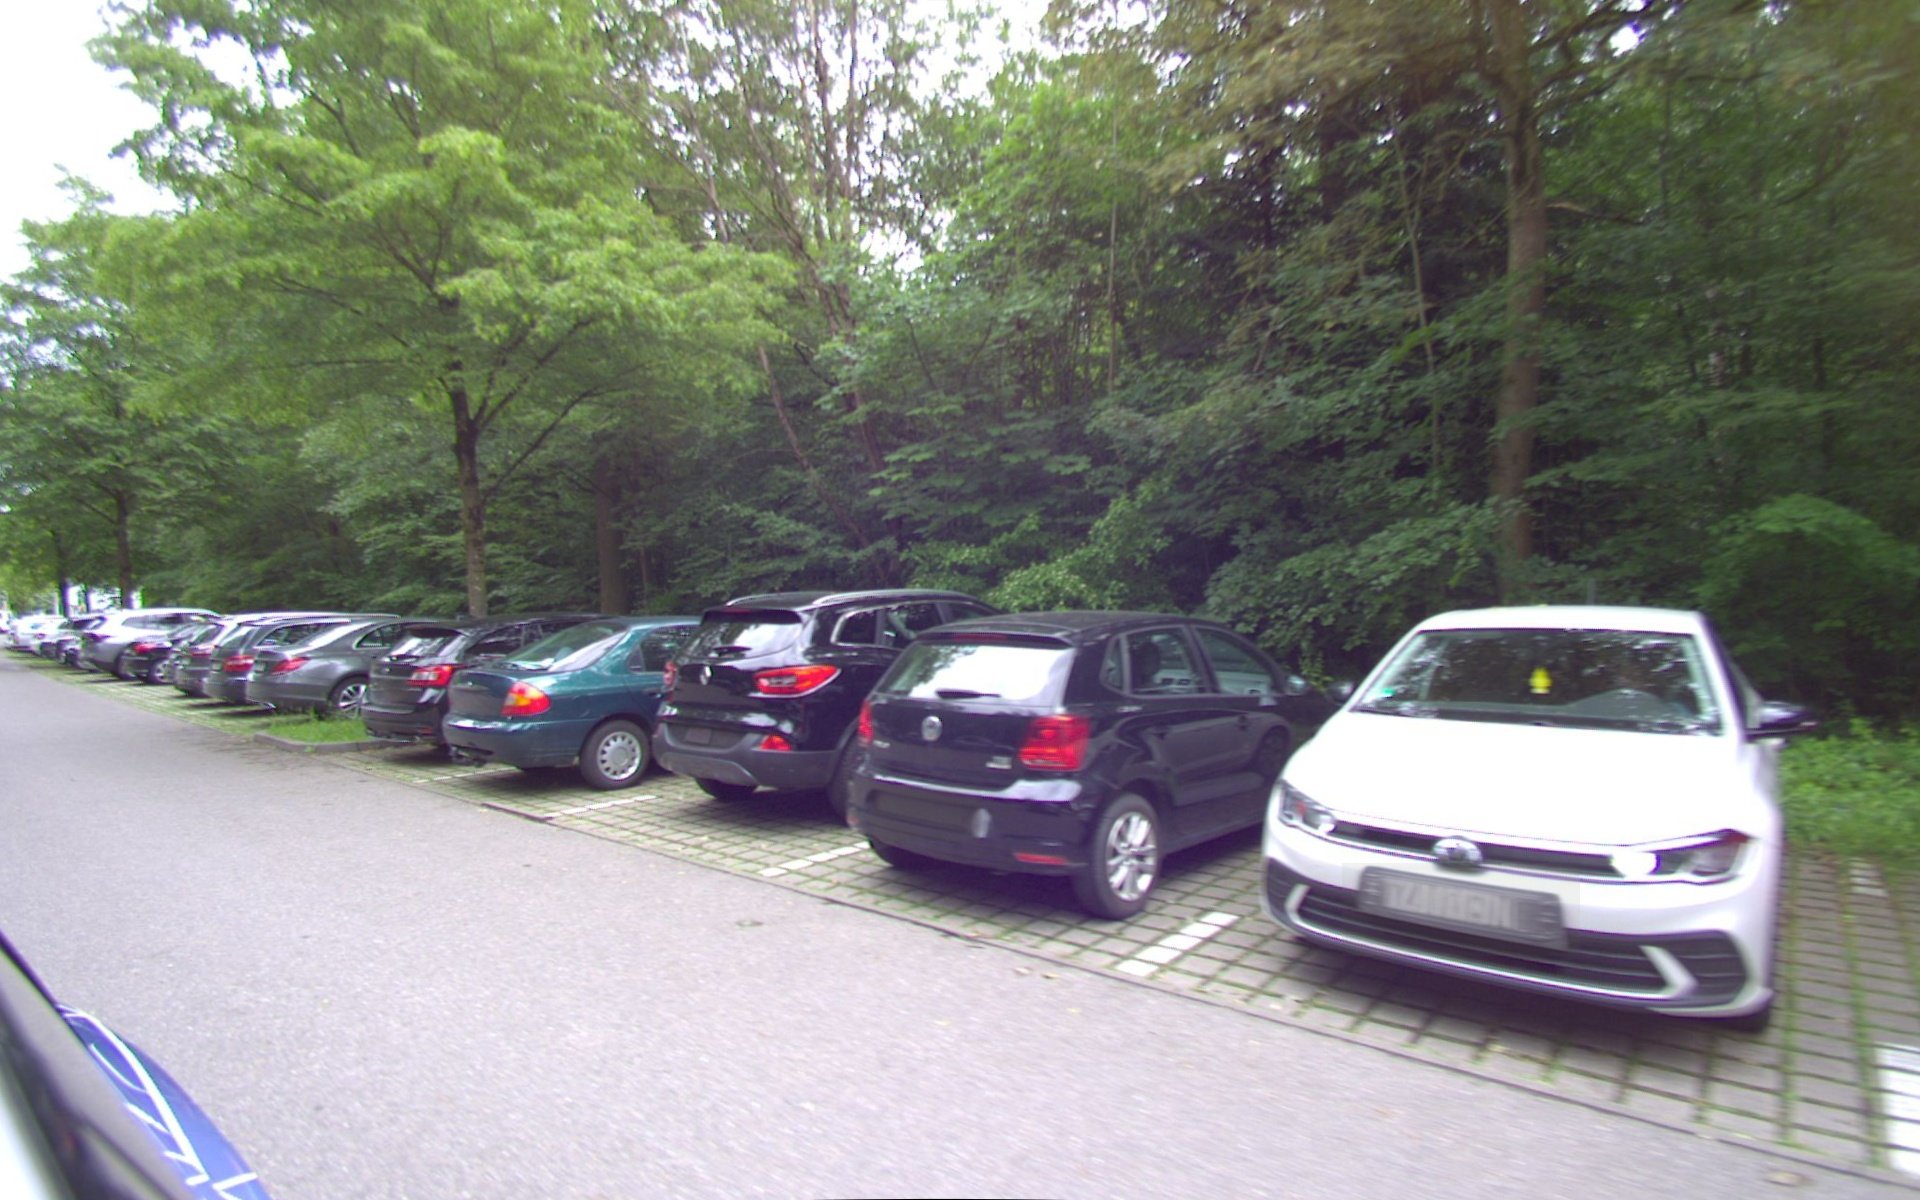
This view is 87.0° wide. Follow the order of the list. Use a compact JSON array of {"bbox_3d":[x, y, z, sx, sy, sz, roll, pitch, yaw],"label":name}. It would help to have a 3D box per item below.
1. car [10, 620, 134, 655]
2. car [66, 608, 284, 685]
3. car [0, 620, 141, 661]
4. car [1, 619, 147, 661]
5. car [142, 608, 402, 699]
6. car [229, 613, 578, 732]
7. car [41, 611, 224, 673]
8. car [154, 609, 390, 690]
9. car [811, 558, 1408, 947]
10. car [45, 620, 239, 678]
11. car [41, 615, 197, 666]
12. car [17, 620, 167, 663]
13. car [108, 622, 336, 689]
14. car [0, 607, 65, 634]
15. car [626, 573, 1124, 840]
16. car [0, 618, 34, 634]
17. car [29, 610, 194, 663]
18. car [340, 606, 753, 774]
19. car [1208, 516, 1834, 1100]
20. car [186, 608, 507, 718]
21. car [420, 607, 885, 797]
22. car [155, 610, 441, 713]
[{"bbox_3d":[-39.759,1.648,45.391,1.711,1.489,3.949,-1,-1,38],"label":"car"},{"bbox_3d":[-19.222,1.088,24.920,1.711,1.740,3.949,-1,-1,37],"label":"car"},{"bbox_3d":[-35.107,1.563,40.012,1.711,1.489,3.949,-1,-1,38],"label":"car"},{"bbox_3d":[-33.757,1.488,38.637,1.711,1.489,3.949,-1,-1,38],"label":"car"},{"bbox_3d":[-13.591,0.981,20.196,1.710,1.528,3.952,-1,0,35],"label":"car"},{"bbox_3d":[-8.027,0.948,14.856,1.819,1.467,4.163,-1,-1,44],"label":"car"},{"bbox_3d":[-24.670,1.217,30.294,1.711,1.722,3.949,-1,-1,37],"label":"car"},{"bbox_3d":[-15.002,1.010,22.255,1.710,1.528,3.952,-1,0,35],"label":"car"},{"bbox_3d":[1.173,0.648,6.254,1.741,1.609,3.944,-1,-1,42],"label":"car"},{"bbox_3d":[-22.814,1.307,28.356,1.711,1.500,3.949,-1,-1,37],"label":"car"},{"bbox_3d":[-29.549,1.388,35.665,1.711,1.684,3.949,-1,-1,37],"label":"car"},{"bbox_3d":[-31.905,1.475,37.302,1.711,1.489,3.949,-1,-1,38],"label":"car"},{"bbox_3d":[-17.022,1.221,23.512,1.710,1.381,3.952,-1,-1,35],"label":"car"},{"bbox_3d":[-52.738,1.147,56.501,3.933,1.431,1.787,-1,0,-33],"label":"car"},{"bbox_3d":[-0.460,0.658,8.182,1.740,1.609,3.946,-1,-1,40],"label":"car"},{"bbox_3d":[-82.326,2.263,87.769,1.743,1.325,3.903,-1,0,-24],"label":"car"},{"bbox_3d":[-28.195,1.178,33.745,1.711,1.684,3.949,-1,-1,37],"label":"car"},{"bbox_3d":[-4.431,0.843,11.351,1.739,1.453,3.949,-1,0,38],"label":"car"},{"bbox_3d":[2.950,0.589,4.852,1.741,1.609,3.944,-1,-1,42],"label":"car"},{"bbox_3d":[-9.902,0.924,16.594,1.817,1.549,4.168,-1,-1,40],"label":"car"},{"bbox_3d":[-2.761,0.796,9.718,1.742,1.432,3.943,-1,-1,43],"label":"car"},{"bbox_3d":[-11.743,1.007,18.182,1.710,1.528,3.952,-1,0,35],"label":"car"}]
